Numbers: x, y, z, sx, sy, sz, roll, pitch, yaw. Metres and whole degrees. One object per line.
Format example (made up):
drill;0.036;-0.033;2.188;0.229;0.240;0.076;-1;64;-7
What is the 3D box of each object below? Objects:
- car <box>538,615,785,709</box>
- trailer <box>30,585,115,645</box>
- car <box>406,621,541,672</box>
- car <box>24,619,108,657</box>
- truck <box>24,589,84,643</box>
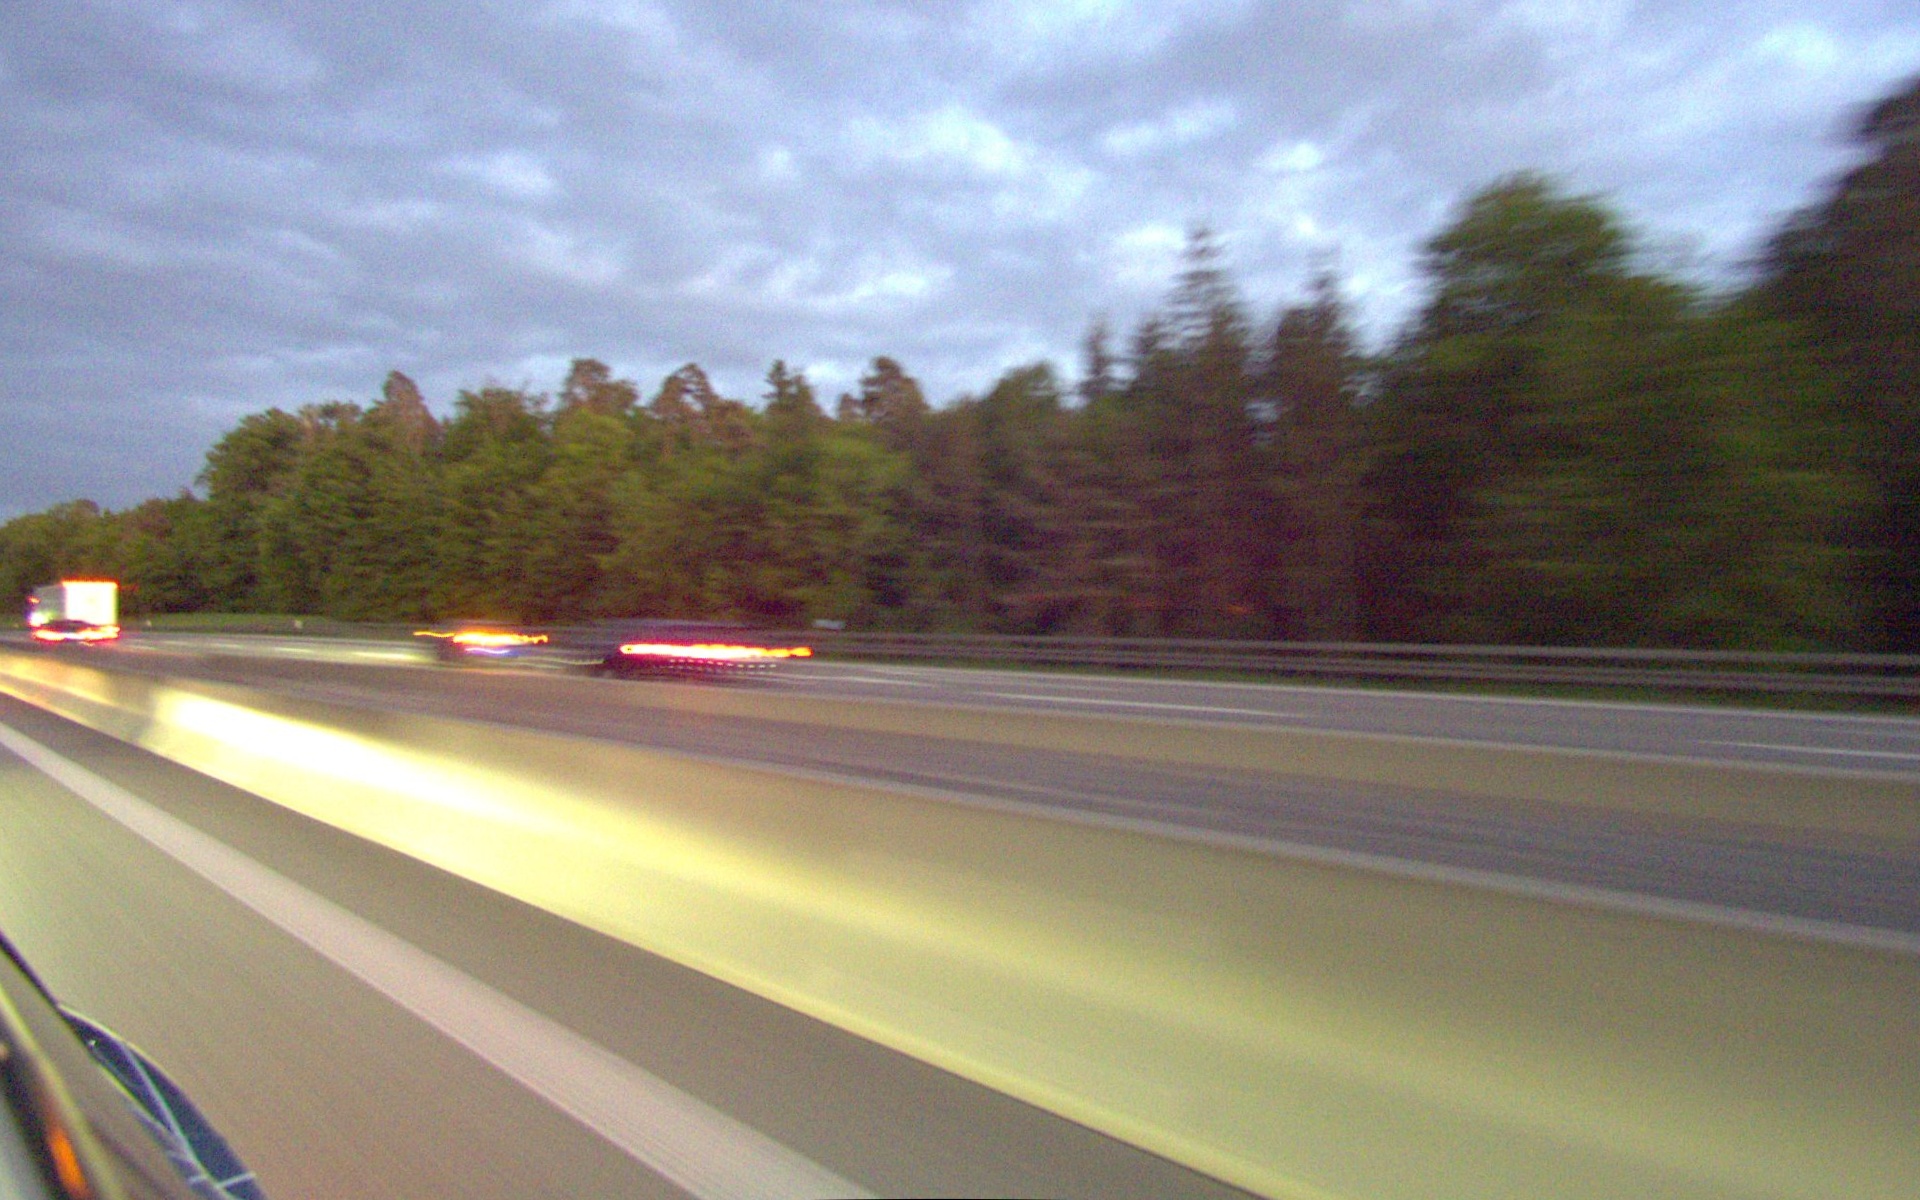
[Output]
car;-5.262;0.983;17.490;4.788;1.425;1.829;-1;-2;41
trailer;-66.307;1.172;75.439;14.314;4.163;2.623;-1;-1;40
car;-14.931;1.375;30.962;4.741;1.435;1.893;-1;-2;39
car;-36.621;1.522;41.401;5.143;1.435;1.972;-1;-2;42
truck;-71.541;1.281;79.854;6.519;4.163;2.623;-1;-1;40
